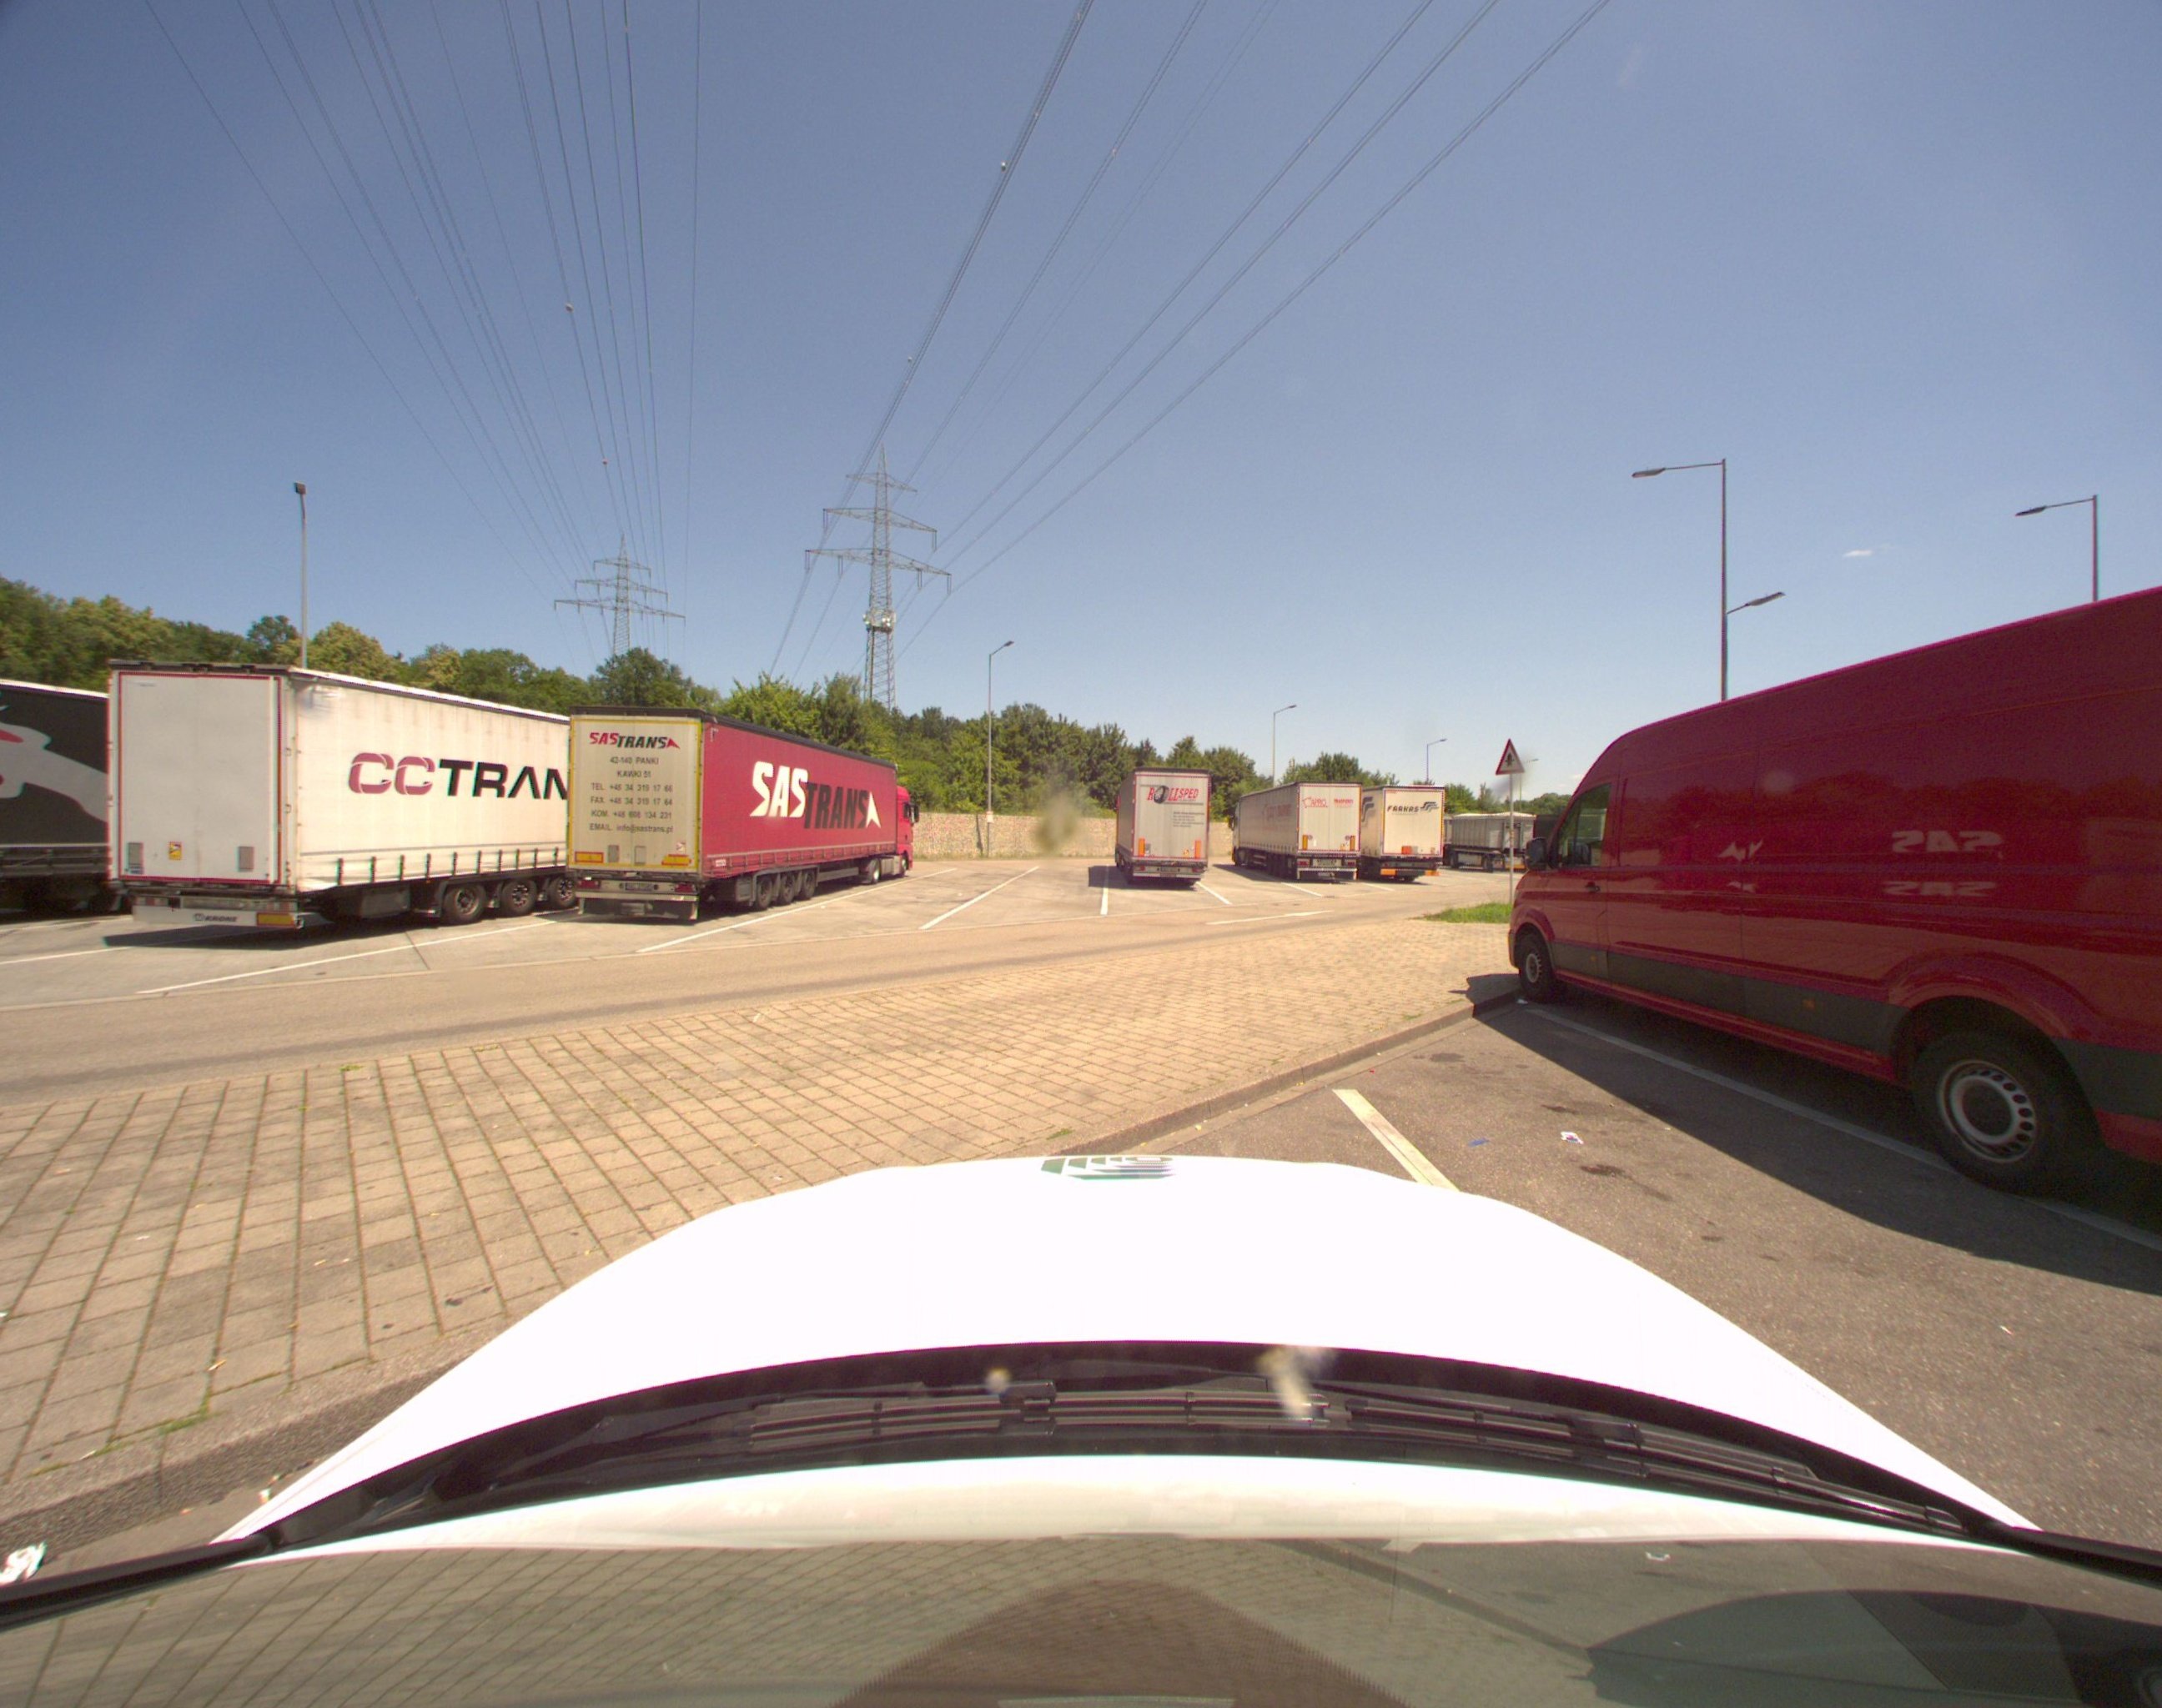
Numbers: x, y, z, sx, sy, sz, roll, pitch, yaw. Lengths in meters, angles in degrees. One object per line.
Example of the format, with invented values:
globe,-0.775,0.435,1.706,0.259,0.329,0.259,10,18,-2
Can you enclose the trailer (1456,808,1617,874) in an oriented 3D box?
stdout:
trailer,28.411,-0.916,52.021,2.847,3.599,13.770,1,2,2

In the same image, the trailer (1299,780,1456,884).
trailer,13.601,-1.088,39.235,2.847,4.109,13.770,1,2,2

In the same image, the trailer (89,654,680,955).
trailer,-12.168,-0.839,16.433,2.696,4.101,10.395,1,2,2

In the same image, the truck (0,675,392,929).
truck,-18.556,-0.938,15.840,2.696,4.070,8.694,1,2,2

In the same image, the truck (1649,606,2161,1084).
truck,7.995,-0.064,6.896,2.406,2.906,6.466,-1,0,6

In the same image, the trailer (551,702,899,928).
trailer,-8.053,-0.925,21.737,2.811,4.070,13.770,1,2,2

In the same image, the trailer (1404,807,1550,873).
trailer,24.433,-0.986,51.510,2.847,3.599,13.770,1,2,2

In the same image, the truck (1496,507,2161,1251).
truck,5.135,0.086,5.463,2.001,2.651,6.466,-1,0,6

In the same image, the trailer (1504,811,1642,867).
trailer,38.213,-1.285,64.192,2.847,3.904,13.770,1,2,2

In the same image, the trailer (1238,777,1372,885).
trailer,9.973,-1.114,38.310,2.847,4.109,13.770,1,2,2

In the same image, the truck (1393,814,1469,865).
truck,24.619,-1.074,57.607,2.855,3.362,5.977,1,2,2

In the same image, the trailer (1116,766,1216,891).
trailer,3.041,-1.044,33.219,2.848,3.971,13.767,1,2,1

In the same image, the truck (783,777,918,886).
truck,-7.839,-0.792,28.554,2.801,3.362,5.977,1,2,2

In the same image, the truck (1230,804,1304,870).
truck,10.171,-0.972,45.074,2.855,3.362,5.977,1,2,2

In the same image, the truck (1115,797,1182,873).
truck,3.132,-0.935,39.422,2.855,3.362,5.977,1,2,2
